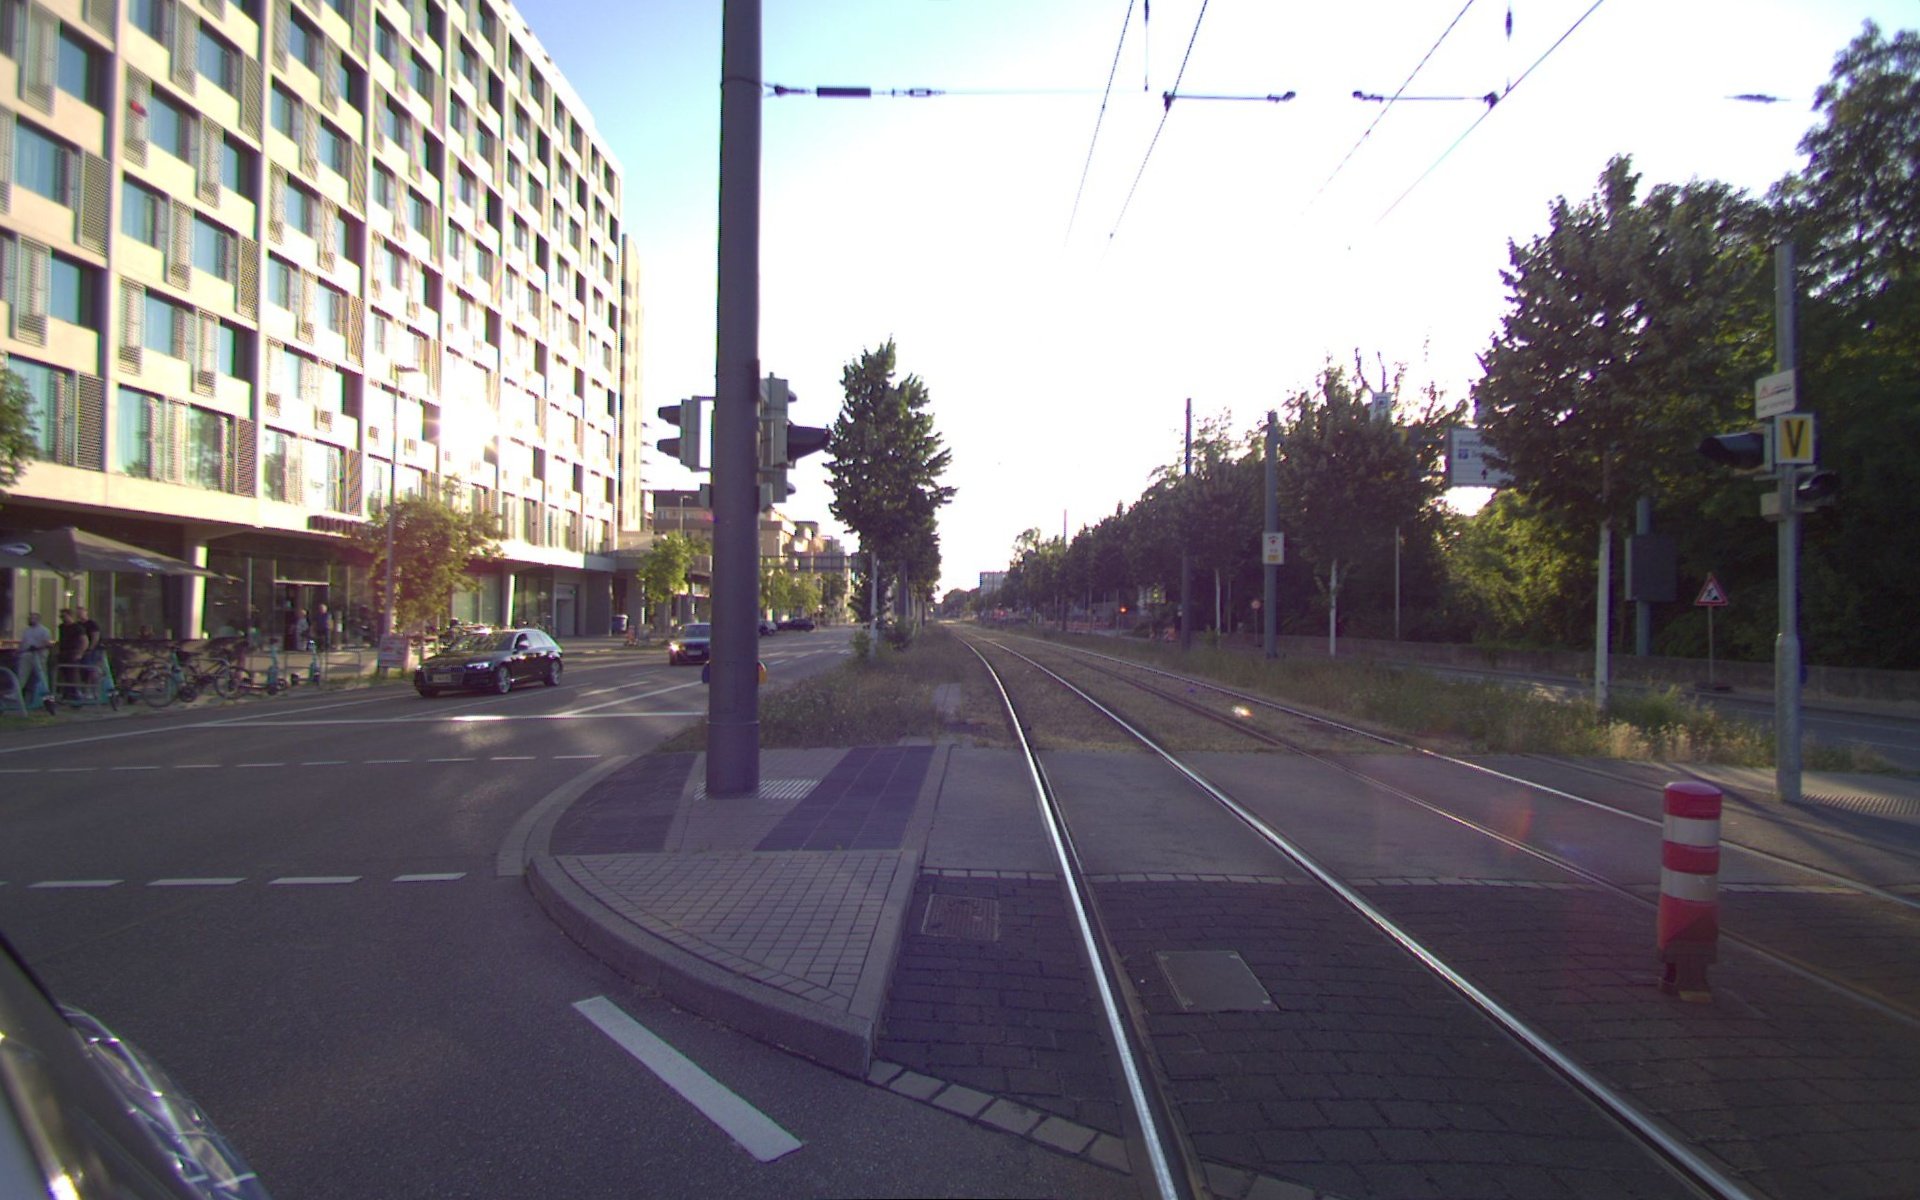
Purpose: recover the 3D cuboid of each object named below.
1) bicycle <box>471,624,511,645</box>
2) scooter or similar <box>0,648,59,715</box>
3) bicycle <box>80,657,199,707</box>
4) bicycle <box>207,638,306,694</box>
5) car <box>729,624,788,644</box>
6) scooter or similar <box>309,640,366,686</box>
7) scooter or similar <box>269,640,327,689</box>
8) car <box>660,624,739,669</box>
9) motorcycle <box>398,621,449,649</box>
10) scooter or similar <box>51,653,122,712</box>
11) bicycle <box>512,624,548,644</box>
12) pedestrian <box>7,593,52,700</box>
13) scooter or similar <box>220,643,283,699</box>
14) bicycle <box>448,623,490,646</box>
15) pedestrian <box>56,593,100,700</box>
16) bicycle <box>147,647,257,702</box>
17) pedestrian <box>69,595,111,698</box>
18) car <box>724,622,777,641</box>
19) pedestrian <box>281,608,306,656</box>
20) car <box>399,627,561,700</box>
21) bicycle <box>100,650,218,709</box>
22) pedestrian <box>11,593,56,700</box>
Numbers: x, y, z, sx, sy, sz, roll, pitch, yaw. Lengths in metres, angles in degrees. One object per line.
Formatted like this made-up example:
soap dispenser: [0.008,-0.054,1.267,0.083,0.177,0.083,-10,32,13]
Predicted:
bicycle: [-23.585,1.723,50.945,1.766,1.027,0.422,1,-1,-4]
scooter or similar: [-16.147,1.397,17.365,0.961,1.093,0.338,3,-4,0]
bicycle: [-15.813,1.571,19.529,1.843,0.877,0.443,2,-1,-4]
bicycle: [-16.195,1.517,23.316,1.886,1.208,0.443,2,-1,-4]
car: [-16.271,2.762,81.945,4.218,1.602,2.012,2,-2,-41]
scooter or similar: [-15.907,1.603,25.875,1.169,1.065,0.338,5,0,0]
scooter or similar: [-16.242,1.585,24.831,1.169,1.172,0.338,0,-1,0]
car: [-9.380,1.633,36.862,1.991,1.452,4.806,-1,-1,-5]
motorcycle: [-23.544,1.527,44.452,1.865,1.180,0.517,2,-2,-16]
scooter or similar: [-15.936,1.502,18.471,0.996,1.042,0.291,1,-3,0]
bicycle: [-23.346,1.846,54.938,1.766,1.027,0.422,1,-1,-4]
pedestrian: [-18.024,0.885,19.597,0.502,2.029,0.544,-1,-2,41]
scooter or similar: [-15.901,1.584,22.722,1.169,1.227,0.338,0,-1,0]
bicycle: [-23.396,1.643,48.230,1.721,1.027,0.422,1,-1,-4]
pedestrian: [-17.083,0.890,19.605,0.502,2.029,0.544,-1,-2,41]
bicycle: [-15.968,1.570,21.335,1.886,1.067,0.443,2,-1,-4]
pedestrian: [-17.495,0.922,20.354,0.502,2.029,0.544,-1,-2,41]
car: [-18.038,2.729,87.143,4.065,1.446,1.829,4,-2,-40]
pedestrian: [-23.978,1.153,36.413,0.424,1.669,0.516,3,-1,0]
car: [-10.860,1.379,23.261,1.864,1.451,4.226,-1,-1,-2]
bicycle: [-15.860,1.571,20.065,1.886,1.067,0.443,2,-1,-4]
pedestrian: [-18.021,0.893,19.688,0.502,2.029,0.544,-1,-2,41]
